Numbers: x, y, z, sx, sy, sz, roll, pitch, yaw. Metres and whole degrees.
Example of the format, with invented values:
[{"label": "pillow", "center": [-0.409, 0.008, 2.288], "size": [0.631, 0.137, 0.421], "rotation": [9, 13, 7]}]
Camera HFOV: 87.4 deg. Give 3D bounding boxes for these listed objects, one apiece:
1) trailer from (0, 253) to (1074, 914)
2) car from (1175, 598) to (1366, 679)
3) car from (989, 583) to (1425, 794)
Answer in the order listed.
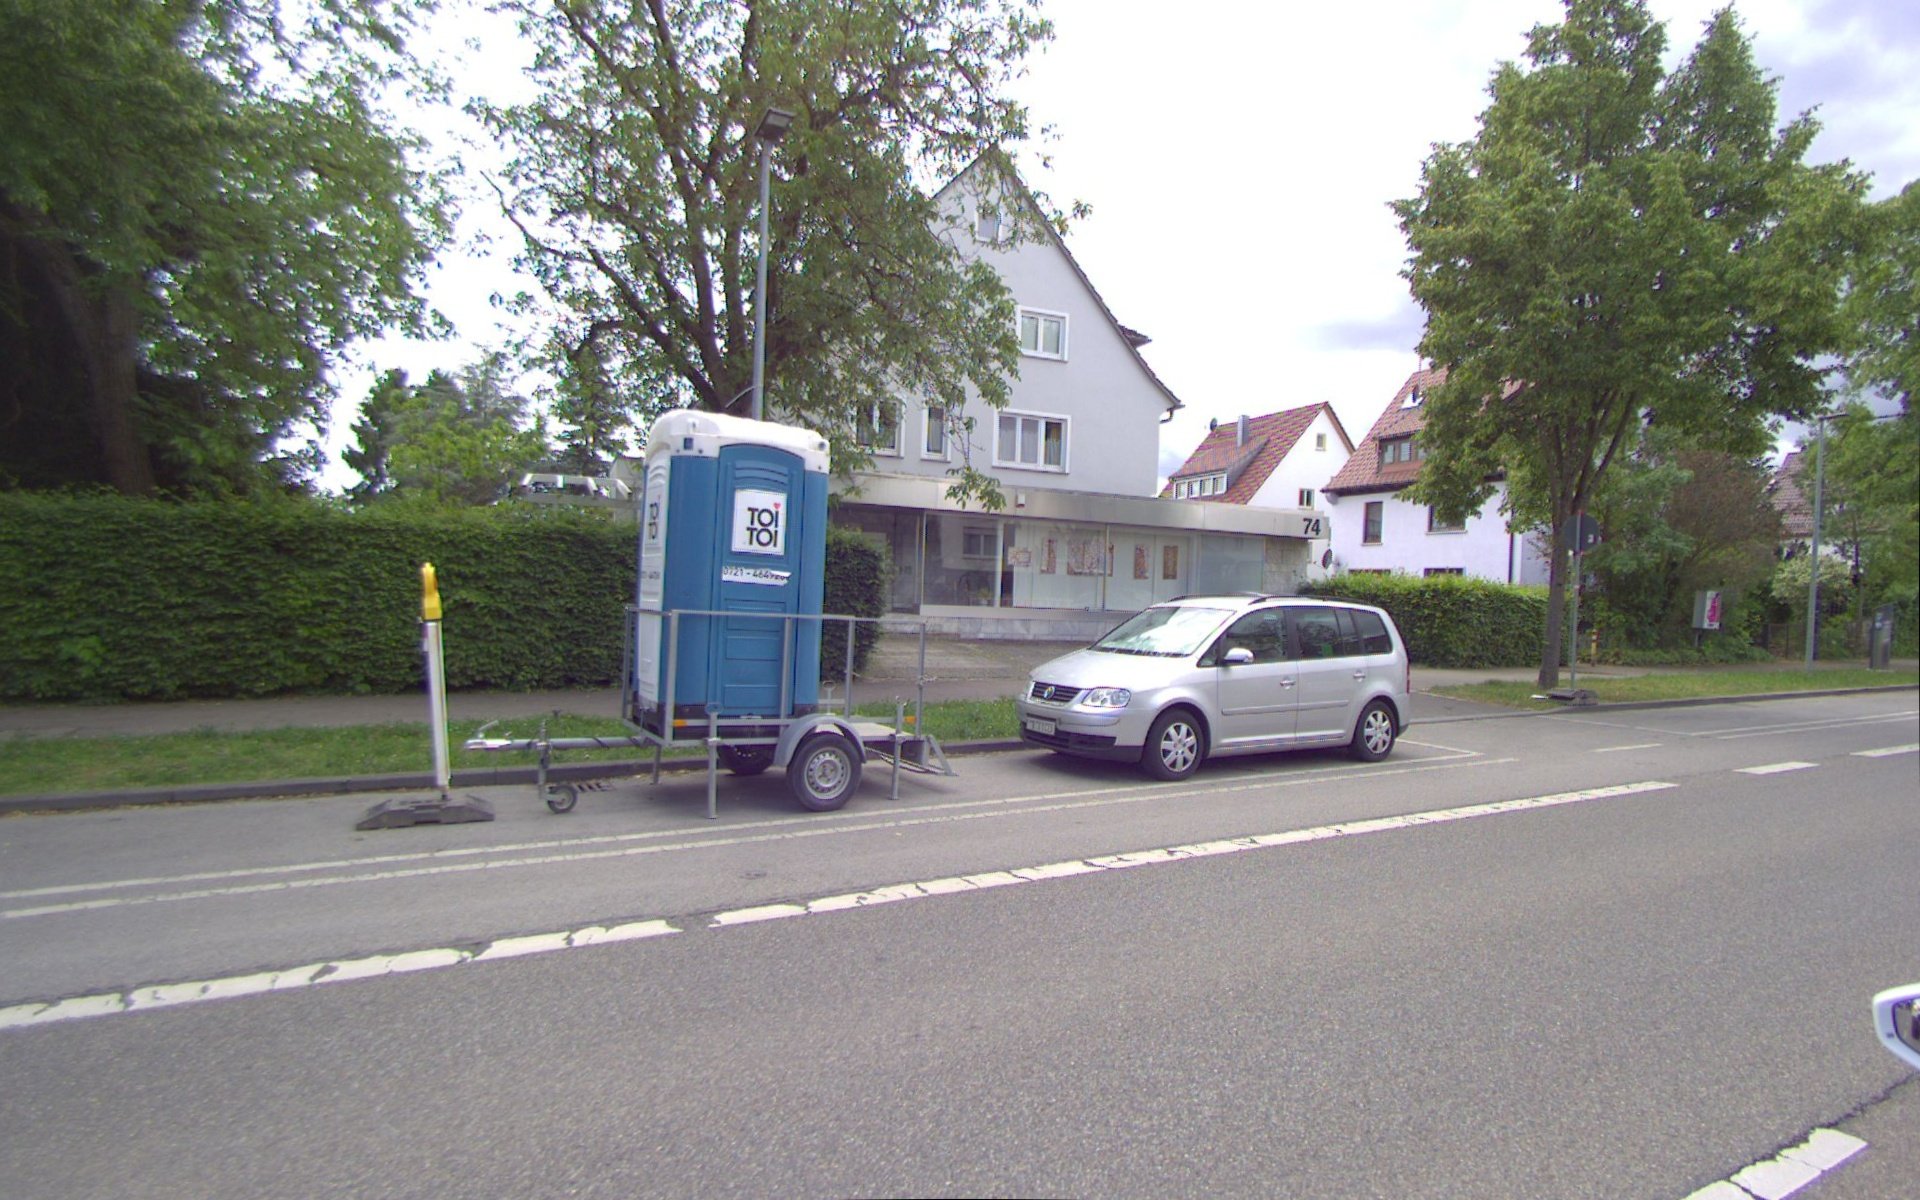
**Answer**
[{"label": "trailer", "center": [-2.813, -0.026, 6.663], "size": [6.918, 3.002, 2.364], "rotation": [1, 0, -27]}, {"label": "car", "center": [6.592, 0.753, 21.802], "size": [1.774, 1.452, 4.070], "rotation": [1, 2, -22]}, {"label": "car", "center": [2.511, 0.775, 9.938], "size": [4.176, 1.706, 1.680], "rotation": [2, 0, -30]}]
